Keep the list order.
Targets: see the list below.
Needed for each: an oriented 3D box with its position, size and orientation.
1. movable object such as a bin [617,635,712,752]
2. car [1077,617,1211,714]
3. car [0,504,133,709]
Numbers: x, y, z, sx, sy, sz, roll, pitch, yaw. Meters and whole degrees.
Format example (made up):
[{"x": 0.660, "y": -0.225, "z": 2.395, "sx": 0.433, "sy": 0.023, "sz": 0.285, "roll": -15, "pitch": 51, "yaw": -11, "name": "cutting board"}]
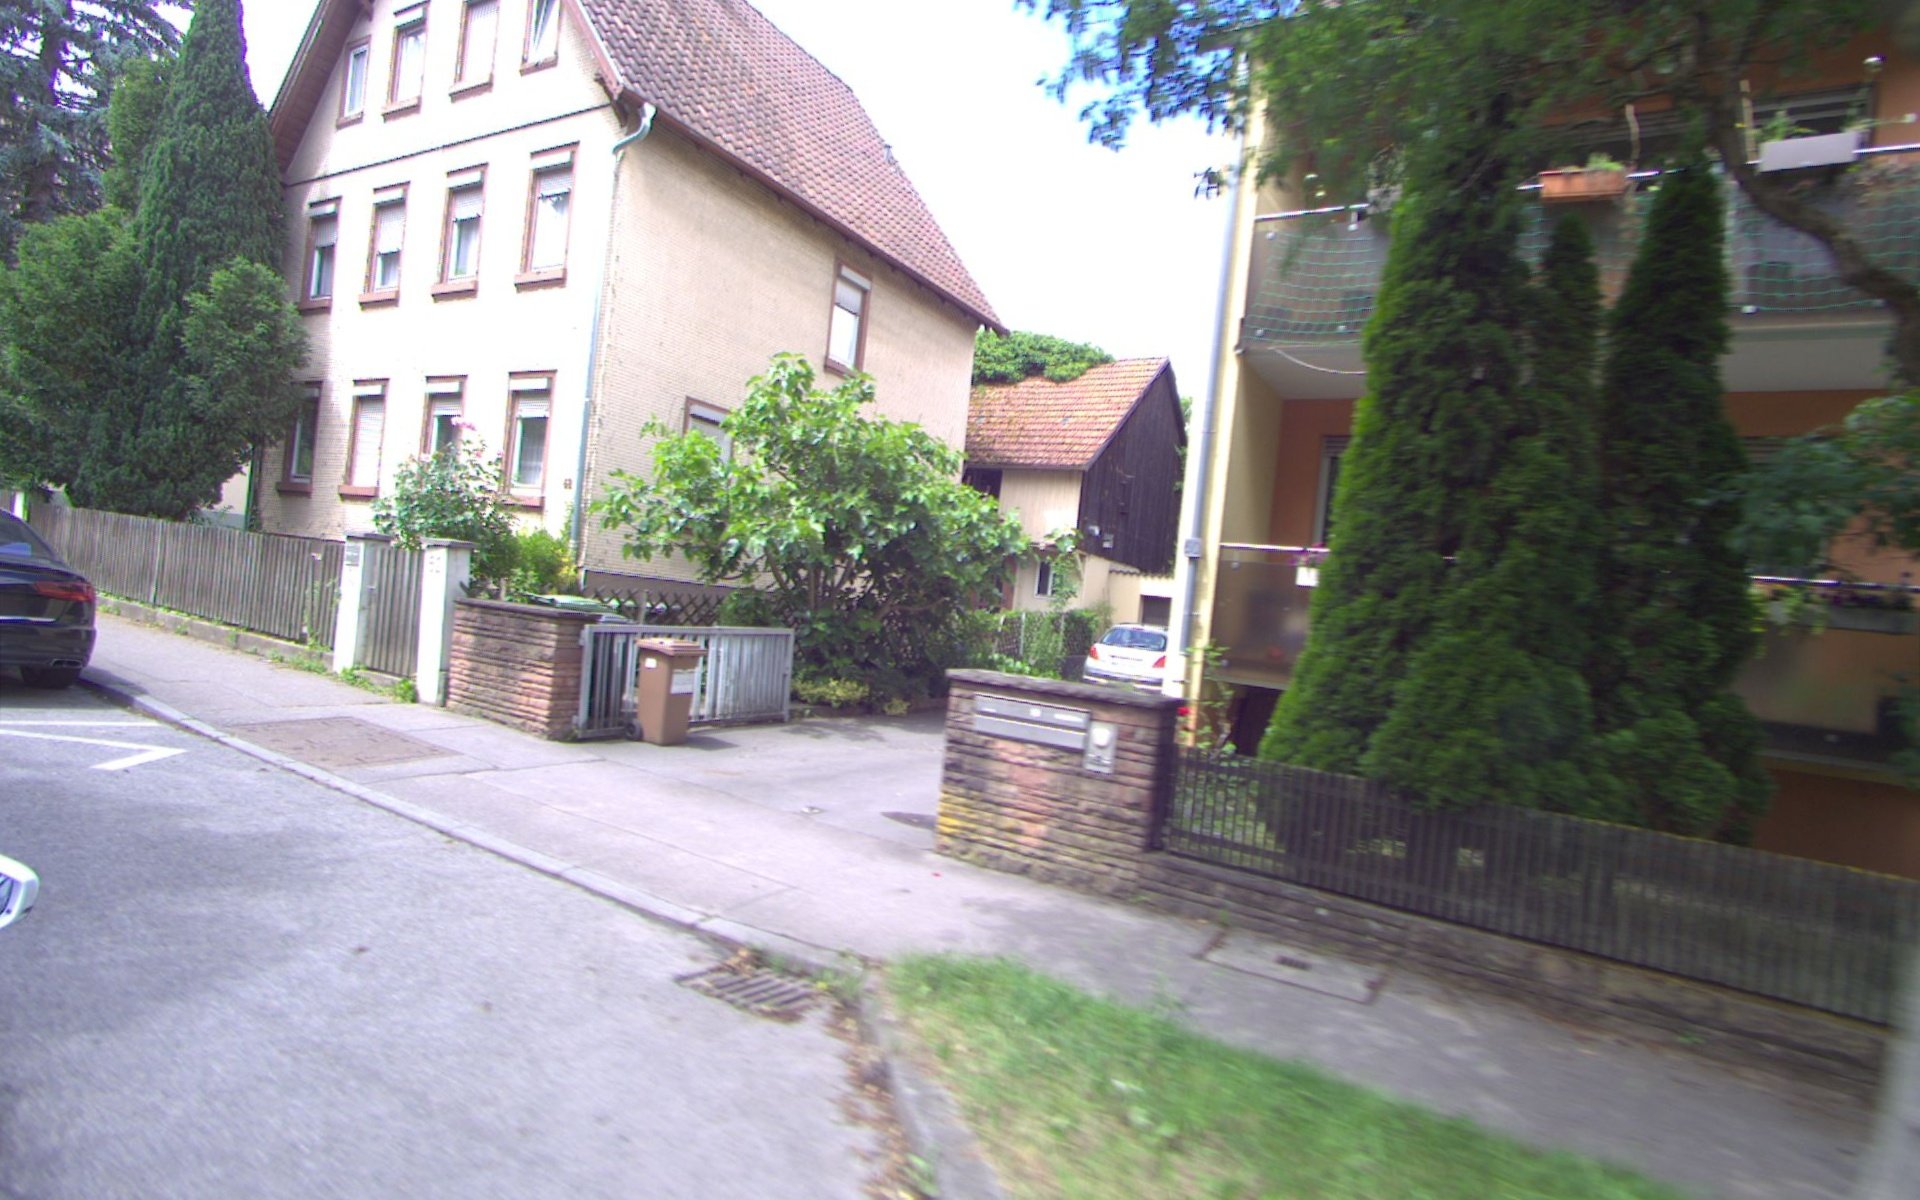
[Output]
[{"x": -2.654, "y": 0.827, "z": 9.043, "sx": 0.511, "sy": 0.947, "sz": 0.508, "roll": 9, "pitch": 3, "yaw": 31, "name": "movable object such as a bin"}, {"x": 3.727, "y": 1.246, "z": 19.817, "sx": 1.643, "sy": 1.549, "sz": 3.998, "roll": 6, "pitch": 0, "yaw": 23, "name": "car"}, {"x": -9.068, "y": -0.223, "z": 8.286, "sx": 4.804, "sy": 1.461, "sz": 1.806, "roll": 7, "pitch": -3, "yaw": 30, "name": "car"}]
